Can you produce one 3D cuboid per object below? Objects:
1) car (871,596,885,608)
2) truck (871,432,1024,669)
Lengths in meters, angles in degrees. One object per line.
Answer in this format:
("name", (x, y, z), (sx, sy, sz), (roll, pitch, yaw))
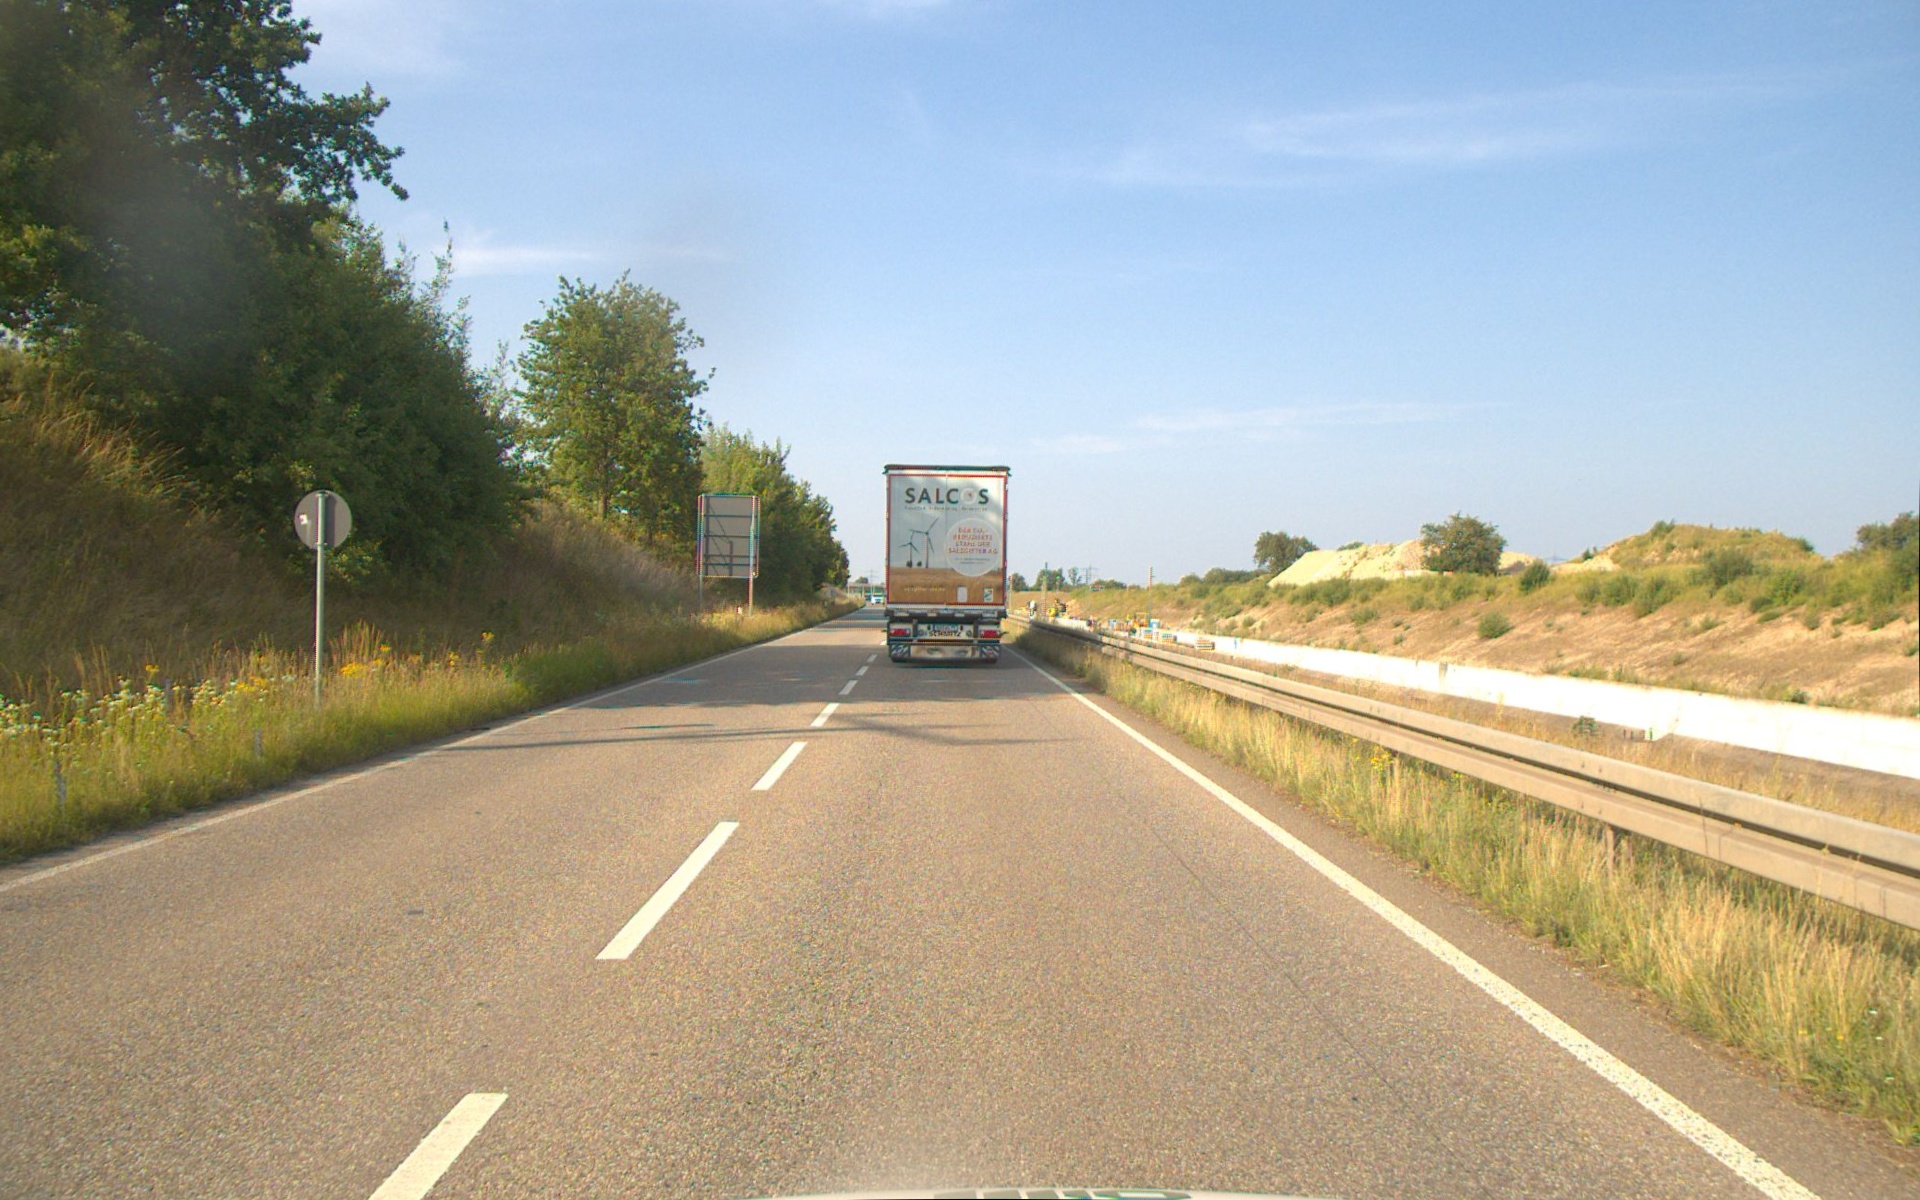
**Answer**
("car", (-11.401, 0.322, 229.239), (1.709, 1.591, 4.365), (1, 0, -1))
("truck", (-0.406, -1.008, 37.711), (3.090, 4.770, 8.437), (0, 0, -2))
